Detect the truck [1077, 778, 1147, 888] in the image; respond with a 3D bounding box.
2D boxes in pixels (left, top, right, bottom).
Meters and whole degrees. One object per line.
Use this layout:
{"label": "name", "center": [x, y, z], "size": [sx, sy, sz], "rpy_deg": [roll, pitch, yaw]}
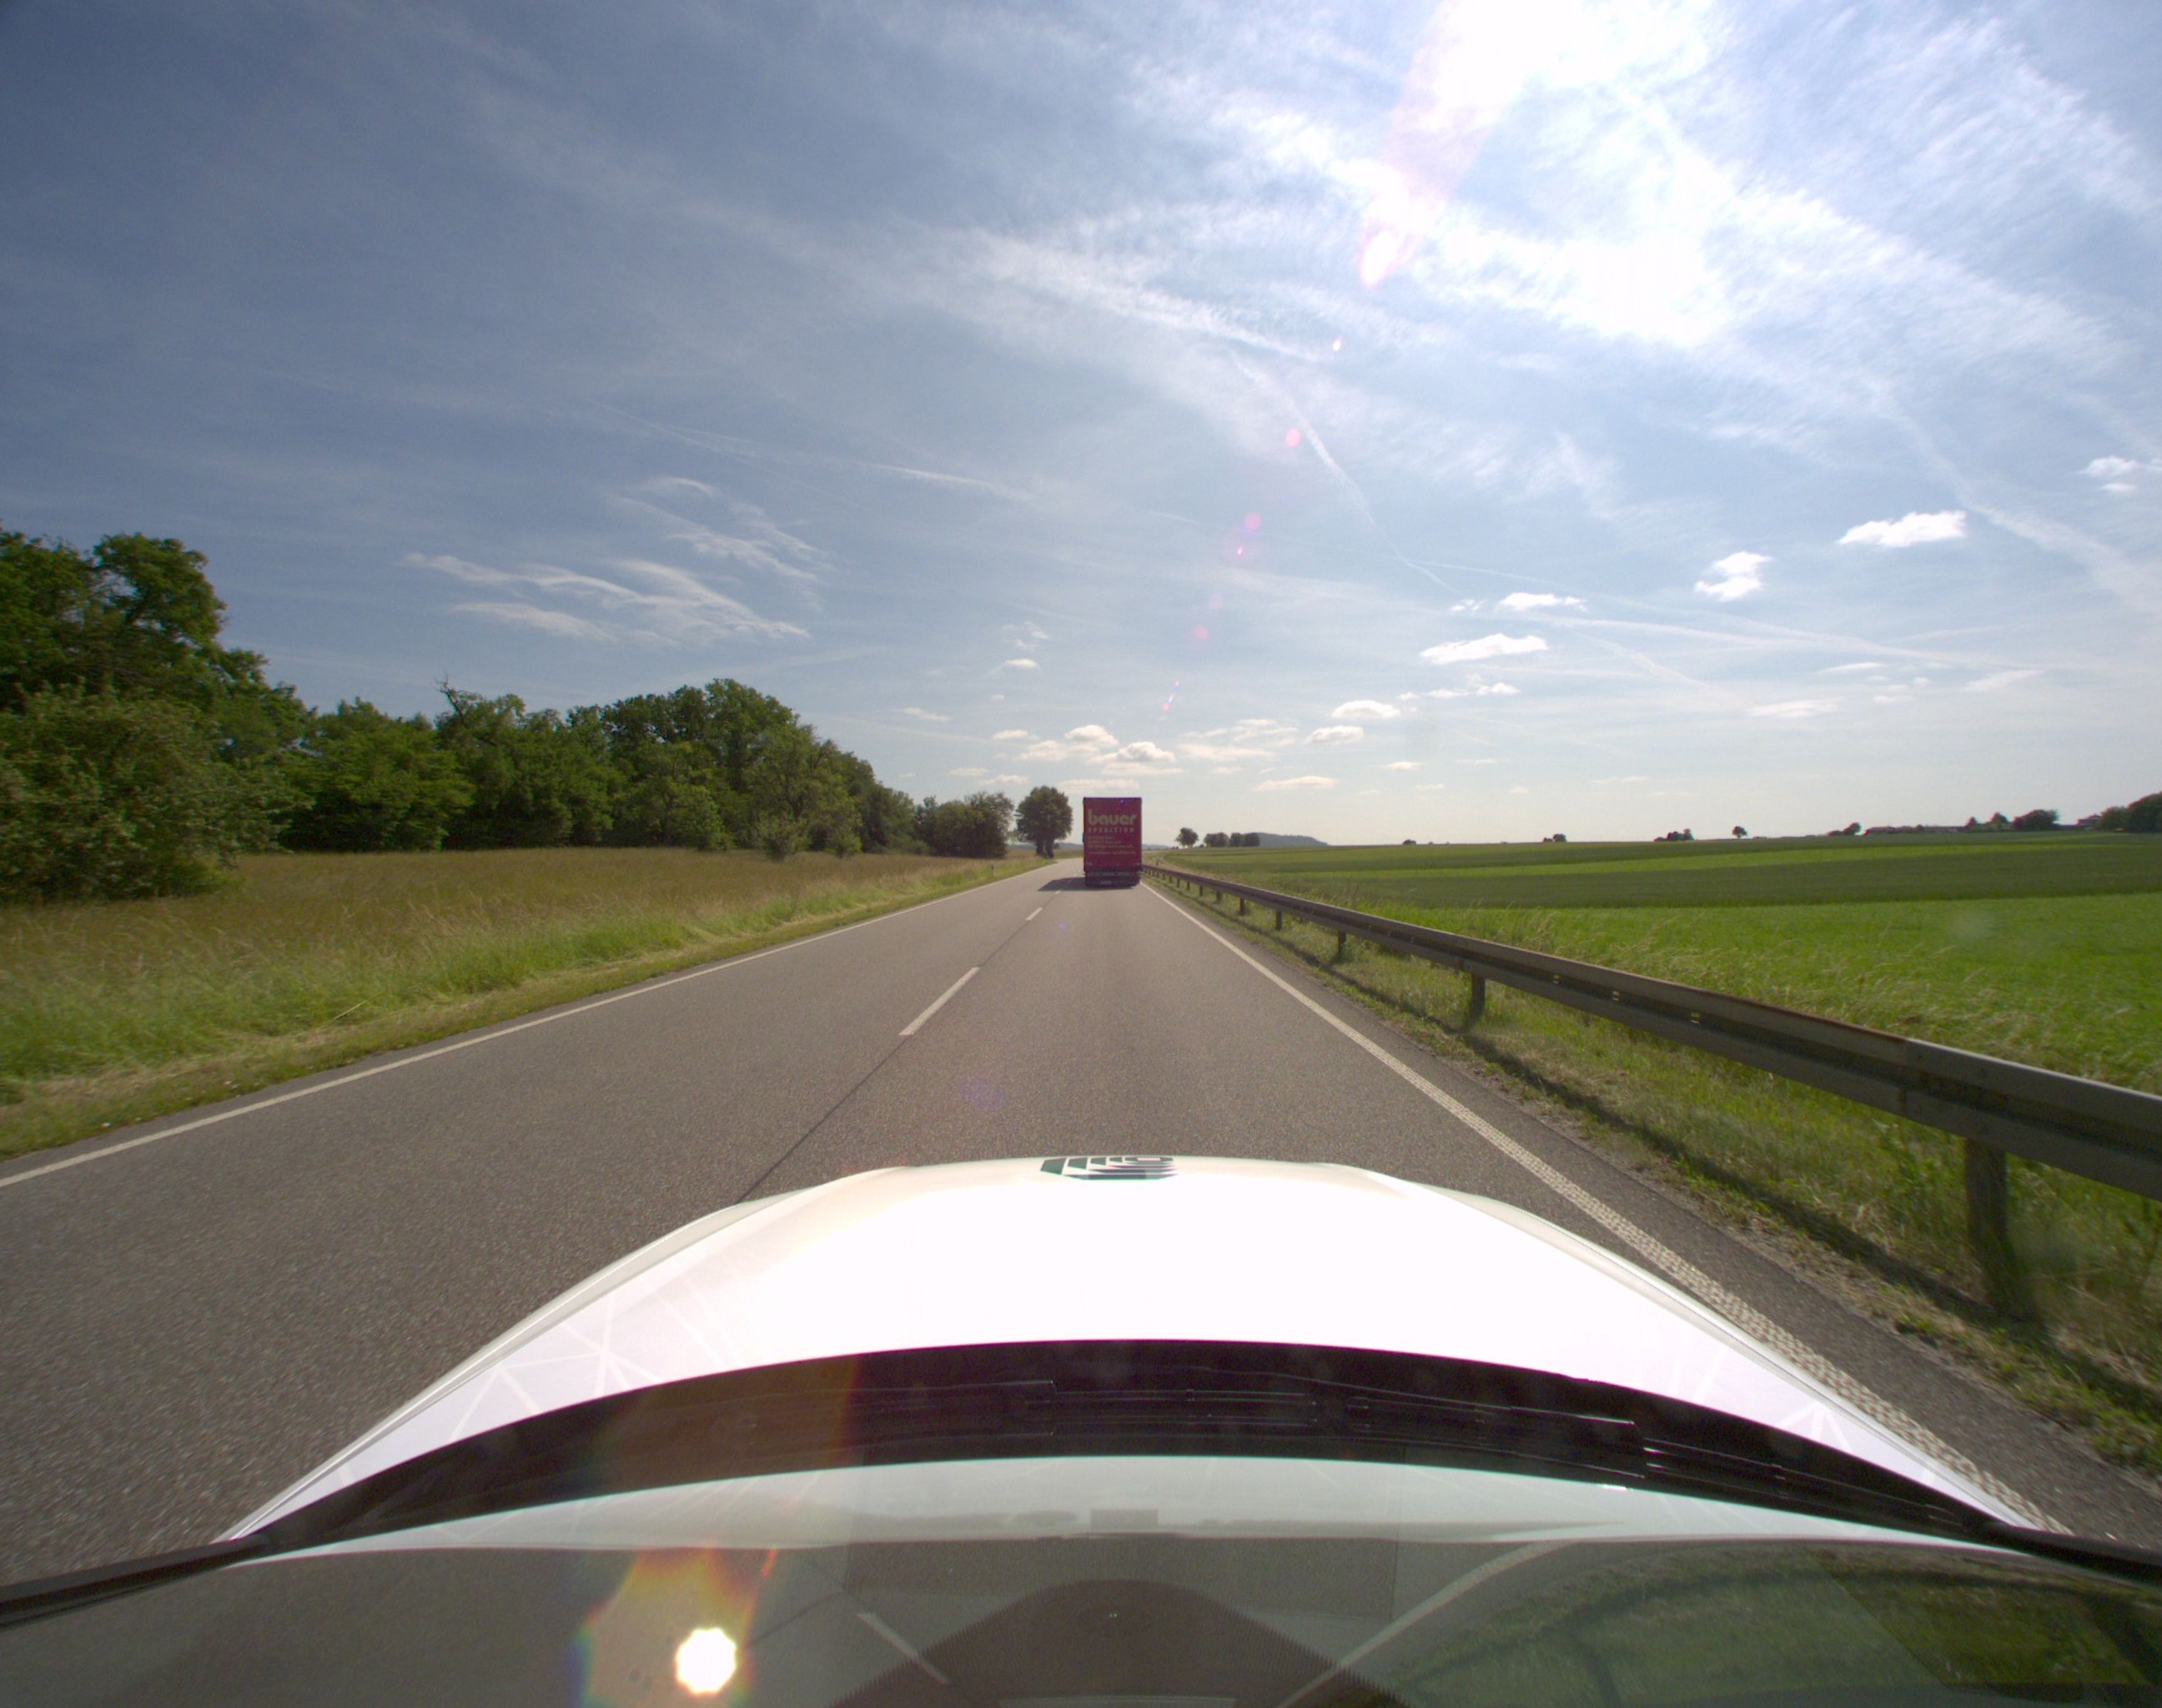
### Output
{"label": "truck", "center": [1.412, -0.859, 39.439], "size": [2.965, 4.713, 9.366], "rpy_deg": [0, -1, 1]}
